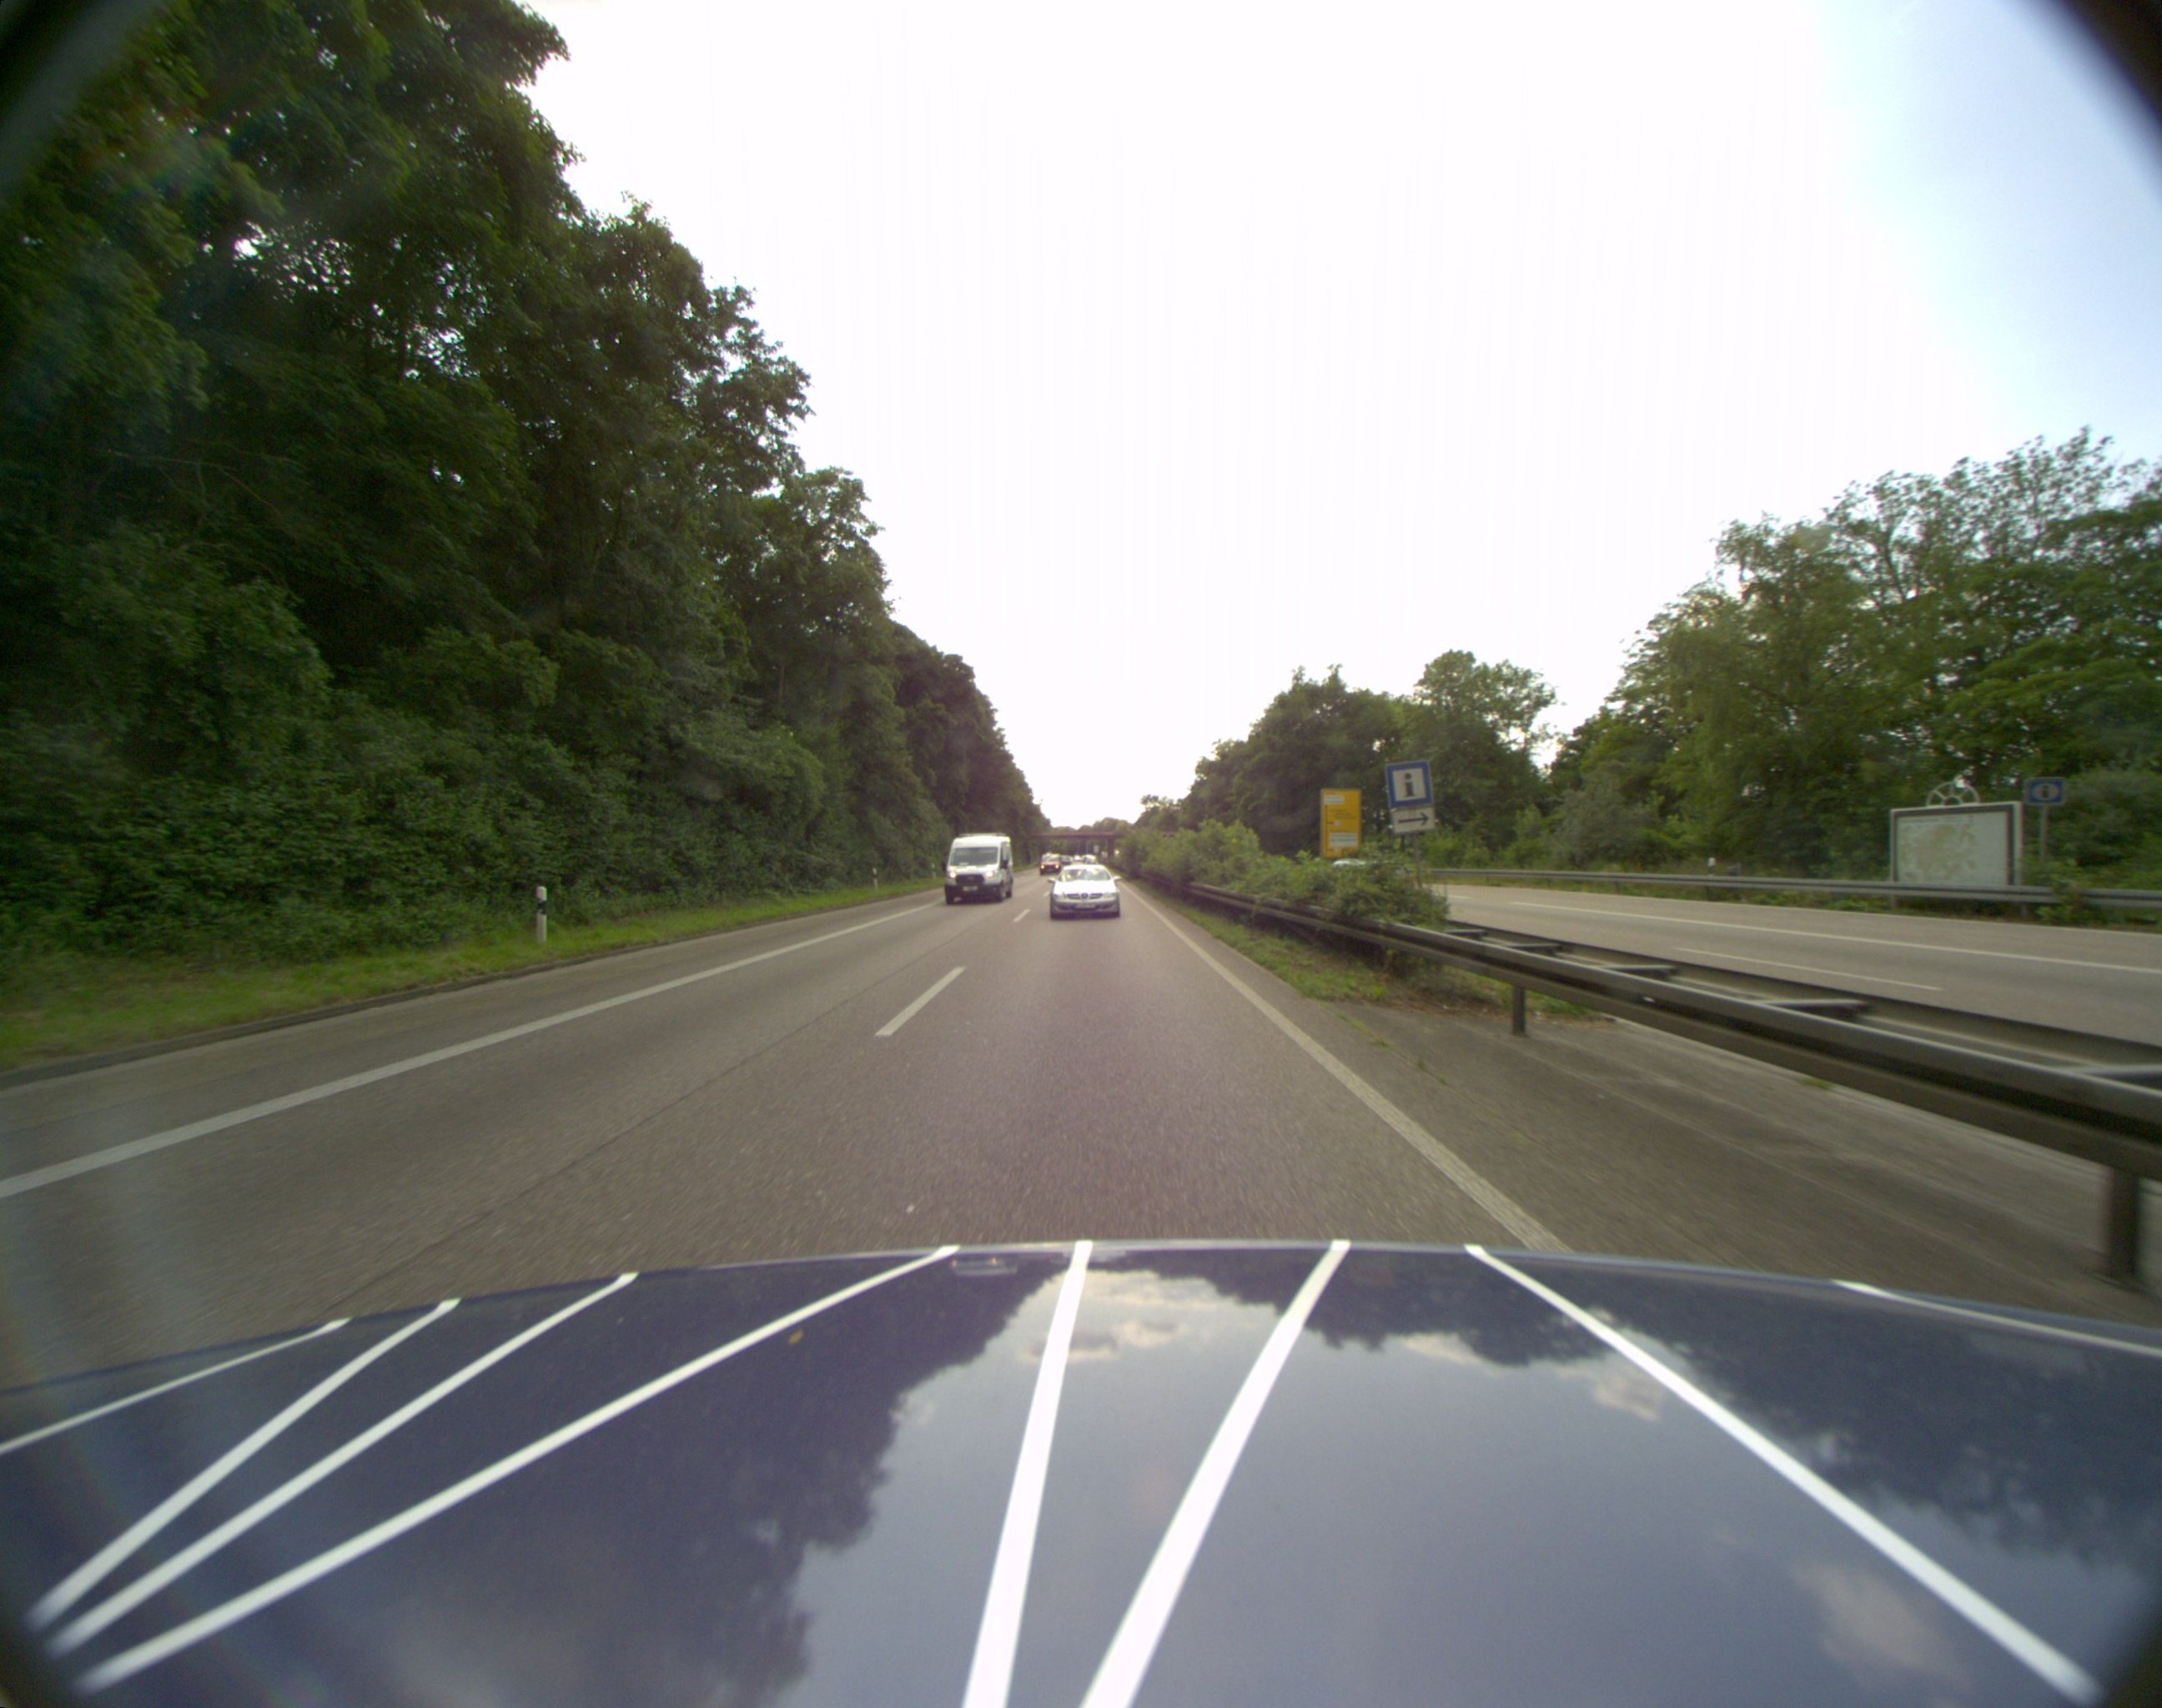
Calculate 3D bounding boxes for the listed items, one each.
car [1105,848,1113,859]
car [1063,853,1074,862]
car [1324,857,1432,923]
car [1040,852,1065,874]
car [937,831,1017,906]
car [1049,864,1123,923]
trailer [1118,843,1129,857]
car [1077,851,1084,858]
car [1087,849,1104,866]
[{"bbox_3d":[8.481,-0.254,233.007,2.294,3.214,7.286,0,0,1],"label":"car"},{"bbox_3d":[-2.186,0.554,135.208,1.889,1.516,4.000,-1,0,1],"label":"car"},{"bbox_3d":[7.930,0.896,20.598,1.589,1.598,3.532,-1,0,1],"label":"car"},{"bbox_3d":[-2.578,0.797,69.119,1.908,1.795,4.395,-2,0,2],"label":"car"},{"bbox_3d":[-3.791,0.490,28.639,2.104,2.493,5.279,-2,0,1],"label":"car"},{"bbox_3d":[0.131,0.990,20.944,1.751,1.295,5.223,-2,0,0],"label":"car"},{"bbox_3d":[12.849,-1.171,230.177,3.067,4.019,9.974,-1,0,2],"label":"trailer"},{"bbox_3d":[-0.088,0.195,237.149,1.998,2.002,4.000,-1,0,1],"label":"car"},{"bbox_3d":[1.769,0.435,93.525,1.998,2.002,4.000,0,0,1],"label":"car"}]
